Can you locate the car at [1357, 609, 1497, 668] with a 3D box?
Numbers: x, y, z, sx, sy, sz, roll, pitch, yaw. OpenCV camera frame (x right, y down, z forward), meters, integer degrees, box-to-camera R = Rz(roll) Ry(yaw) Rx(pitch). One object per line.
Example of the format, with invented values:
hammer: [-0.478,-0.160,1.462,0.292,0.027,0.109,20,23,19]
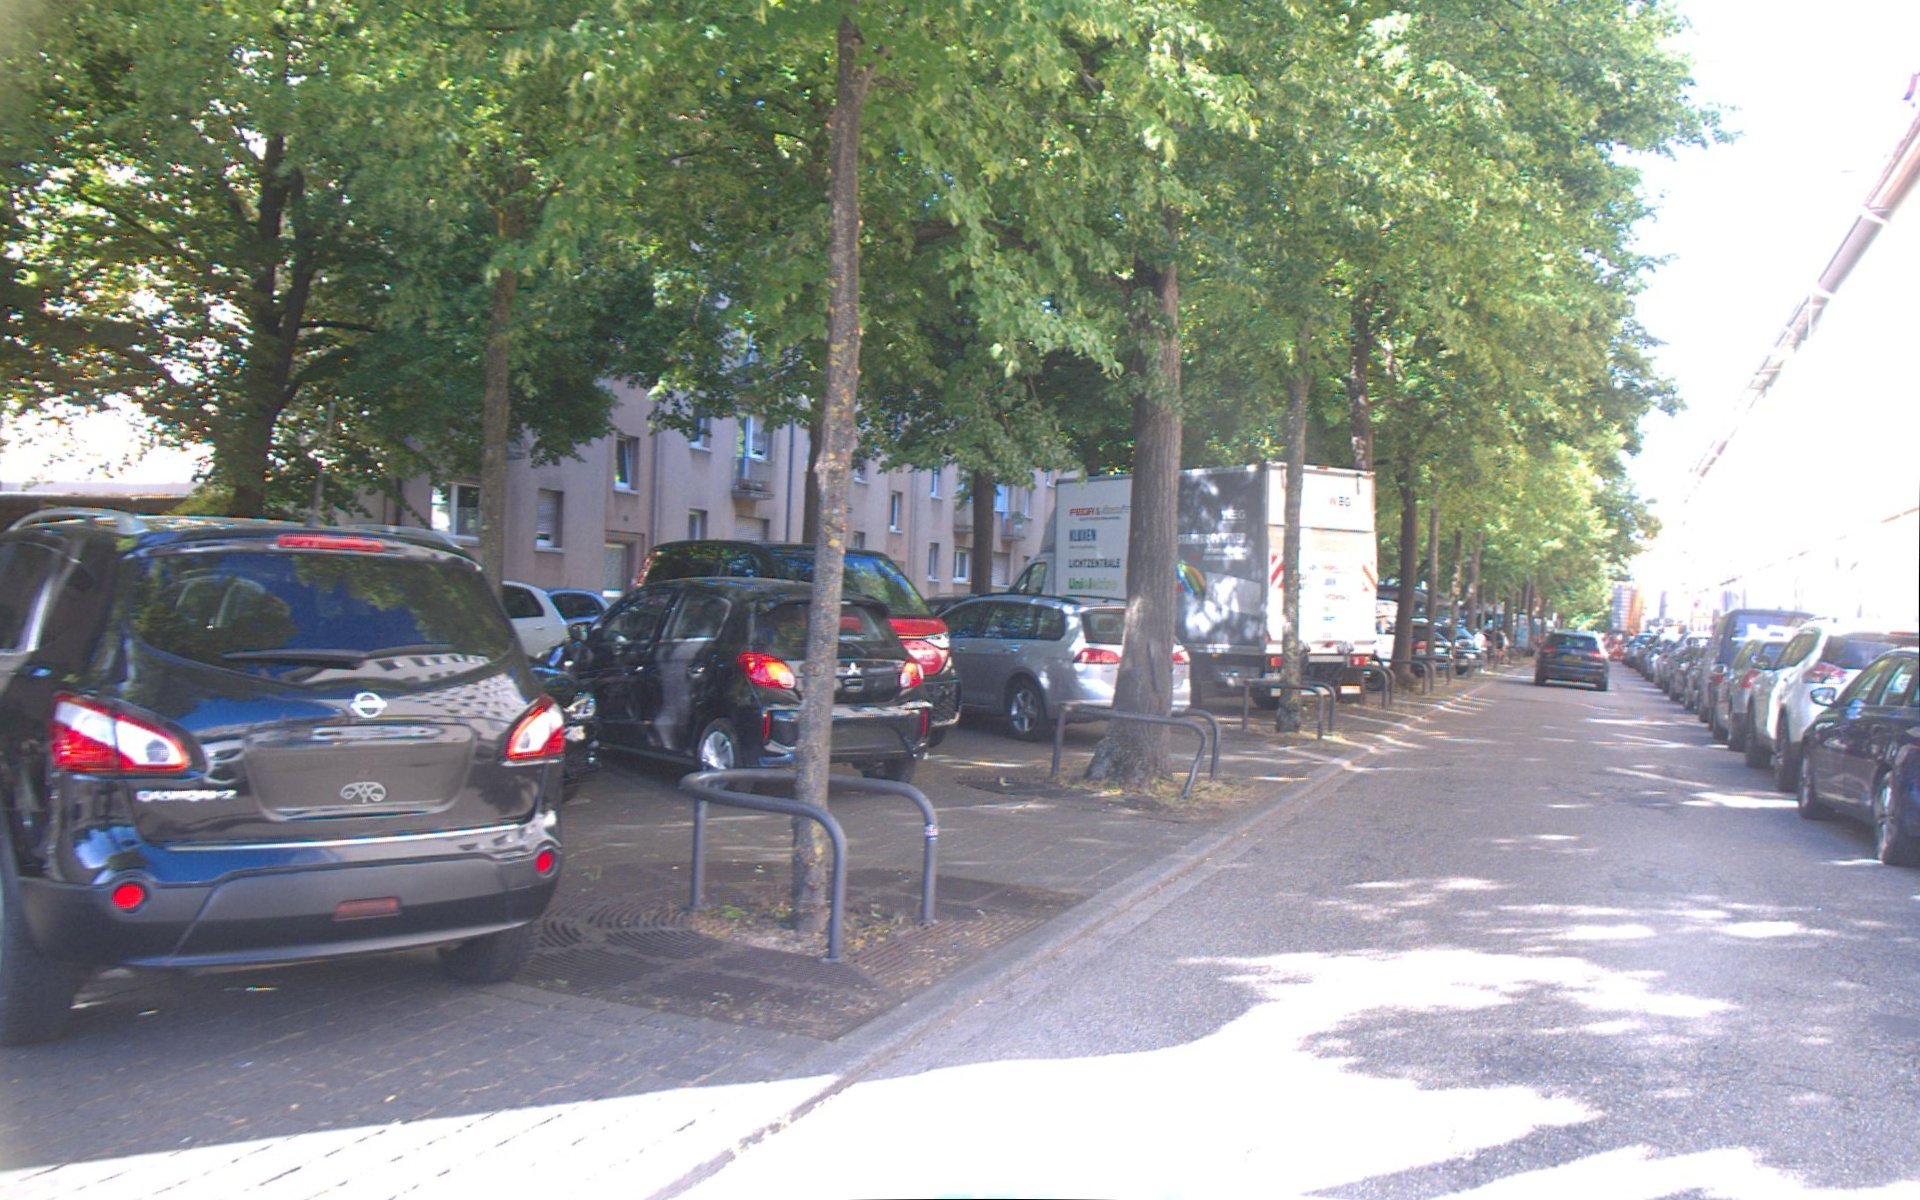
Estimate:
car: [15.107,1.234,53.698,1.742,1.708,4.088,2,0,-40]

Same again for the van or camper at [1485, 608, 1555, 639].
van or camper: [47.782,1.993,141.219,2.269,2.518,5.281,2,0,-36]

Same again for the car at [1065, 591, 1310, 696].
car: [3.779,0.702,28.034,1.829,1.529,3.948,3,0,-37]

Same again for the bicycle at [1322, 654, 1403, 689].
bicycle: [7.600,1.341,31.271,0.405,0.568,1.593,2,0,-37]

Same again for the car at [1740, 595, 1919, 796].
car: [9.317,0.910,17.111,1.725,1.784,4.511,2,0,19]

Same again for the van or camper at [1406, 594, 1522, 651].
van or camper: [31.307,1.365,102.928,2.472,3.297,6.581,2,0,-40]

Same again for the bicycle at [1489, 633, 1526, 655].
bicycle: [27.140,2.187,81.936,1.687,1.023,0.510,2,-1,-9]

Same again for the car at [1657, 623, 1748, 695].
car: [19.255,1.492,43.009,1.686,1.715,4.159,2,0,18]

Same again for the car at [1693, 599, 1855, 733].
car: [13.313,1.030,27.304,1.909,1.934,4.845,2,0,21]

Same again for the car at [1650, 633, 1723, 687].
car: [21.462,1.737,48.963,1.687,1.457,4.158,2,0,20]

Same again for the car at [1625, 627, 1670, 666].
car: [32.554,2.166,78.406,1.779,1.703,4.673,2,0,21]

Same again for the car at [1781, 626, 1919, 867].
car: [7.442,0.977,12.115,1.764,1.489,4.443,2,0,16]

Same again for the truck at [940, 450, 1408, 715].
truck: [2.886,-0.243,24.584,2.520,3.351,7.228,2,0,-37]

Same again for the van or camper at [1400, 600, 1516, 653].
van or camper: [27.187,1.425,90.461,2.233,2.683,5.804,2,0,-39]

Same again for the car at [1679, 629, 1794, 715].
car: [15.228,1.366,32.576,1.588,1.524,3.596,2,0,19]

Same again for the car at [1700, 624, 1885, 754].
car: [11.221,1.126,22.536,1.725,1.526,4.238,2,0,20]

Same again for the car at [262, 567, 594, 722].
car: [-5.901,0.467,18.871,1.717,1.512,3.952,2,0,14]

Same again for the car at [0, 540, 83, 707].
car: [-10.726,0.184,15.601,1.717,1.668,4.248,2,0,19]

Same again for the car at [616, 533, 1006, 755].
car: [-1.645,0.362,16.593,1.913,1.906,4.448,2,0,-35]

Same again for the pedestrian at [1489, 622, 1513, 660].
pedestrian: [21.508,1.618,65.717,0.700,1.481,0.592,1,-1,44]

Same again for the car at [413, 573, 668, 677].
car: [-6.587,0.396,26.492,1.728,1.460,4.343,2,0,21]

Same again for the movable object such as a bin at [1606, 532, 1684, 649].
movable object such as a bin: [41.304,-0.606,99.792,2.342,6.877,3.446,3,-1,-36]

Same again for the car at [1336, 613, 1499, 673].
car: [13.078,1.216,47.511,1.697,1.487,4.367,4,-1,-36]

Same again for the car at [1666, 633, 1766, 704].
car: [16.976,1.503,37.294,1.516,1.418,3.863,2,0,17]

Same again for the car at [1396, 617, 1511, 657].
car: [20.141,1.502,67.634,1.661,1.449,4.264,2,0,-42]

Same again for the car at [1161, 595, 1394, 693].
car: [5.719,0.769,30.170,1.715,1.532,4.054,3,0,-37]

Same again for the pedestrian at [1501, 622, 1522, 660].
pedestrian: [22.041,1.622,66.067,0.606,1.481,0.516,1,-1,44]

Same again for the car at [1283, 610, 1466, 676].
car: [10.555,1.081,42.382,1.768,1.481,4.431,3,0,-37]

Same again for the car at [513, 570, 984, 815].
car: [-1.718,0.587,12.466,1.745,1.506,3.769,2,0,-40]

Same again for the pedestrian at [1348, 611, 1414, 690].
pedestrian: [7.828,0.929,30.752,0.919,1.421,0.743,2,0,-38]

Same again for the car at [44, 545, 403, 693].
car: [-8.944,0.228,20.469,1.718,1.597,3.949,2,0,21]

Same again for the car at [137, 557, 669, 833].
car: [-3.803,0.502,10.940,1.808,1.447,3.885,3,0,-44]

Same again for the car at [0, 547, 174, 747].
car: [-8.137,0.320,12.588,1.717,1.512,3.952,2,0,14]

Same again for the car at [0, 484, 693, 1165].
car: [-2.922,0.468,6.369,1.819,1.700,4.278,2,2,-39]

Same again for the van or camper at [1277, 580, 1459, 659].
van or camper: [16.488,0.730,67.283,2.294,2.981,7.140,2,0,-41]

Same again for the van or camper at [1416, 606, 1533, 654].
van or camper: [26.748,1.550,86.063,2.204,2.315,5.425,2,0,-45]

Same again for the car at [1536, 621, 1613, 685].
car: [15.963,1.341,43.064,1.760,1.530,3.586,2,0,20]

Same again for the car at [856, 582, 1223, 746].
car: [0.739,0.628,18.278,1.792,1.533,4.291,2,0,-35]

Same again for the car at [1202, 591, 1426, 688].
car: [7.787,0.846,36.662,2.065,1.897,4.452,3,0,-43]

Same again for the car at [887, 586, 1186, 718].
car: [0.926,0.649,22.442,1.792,1.533,4.291,2,0,-35]
